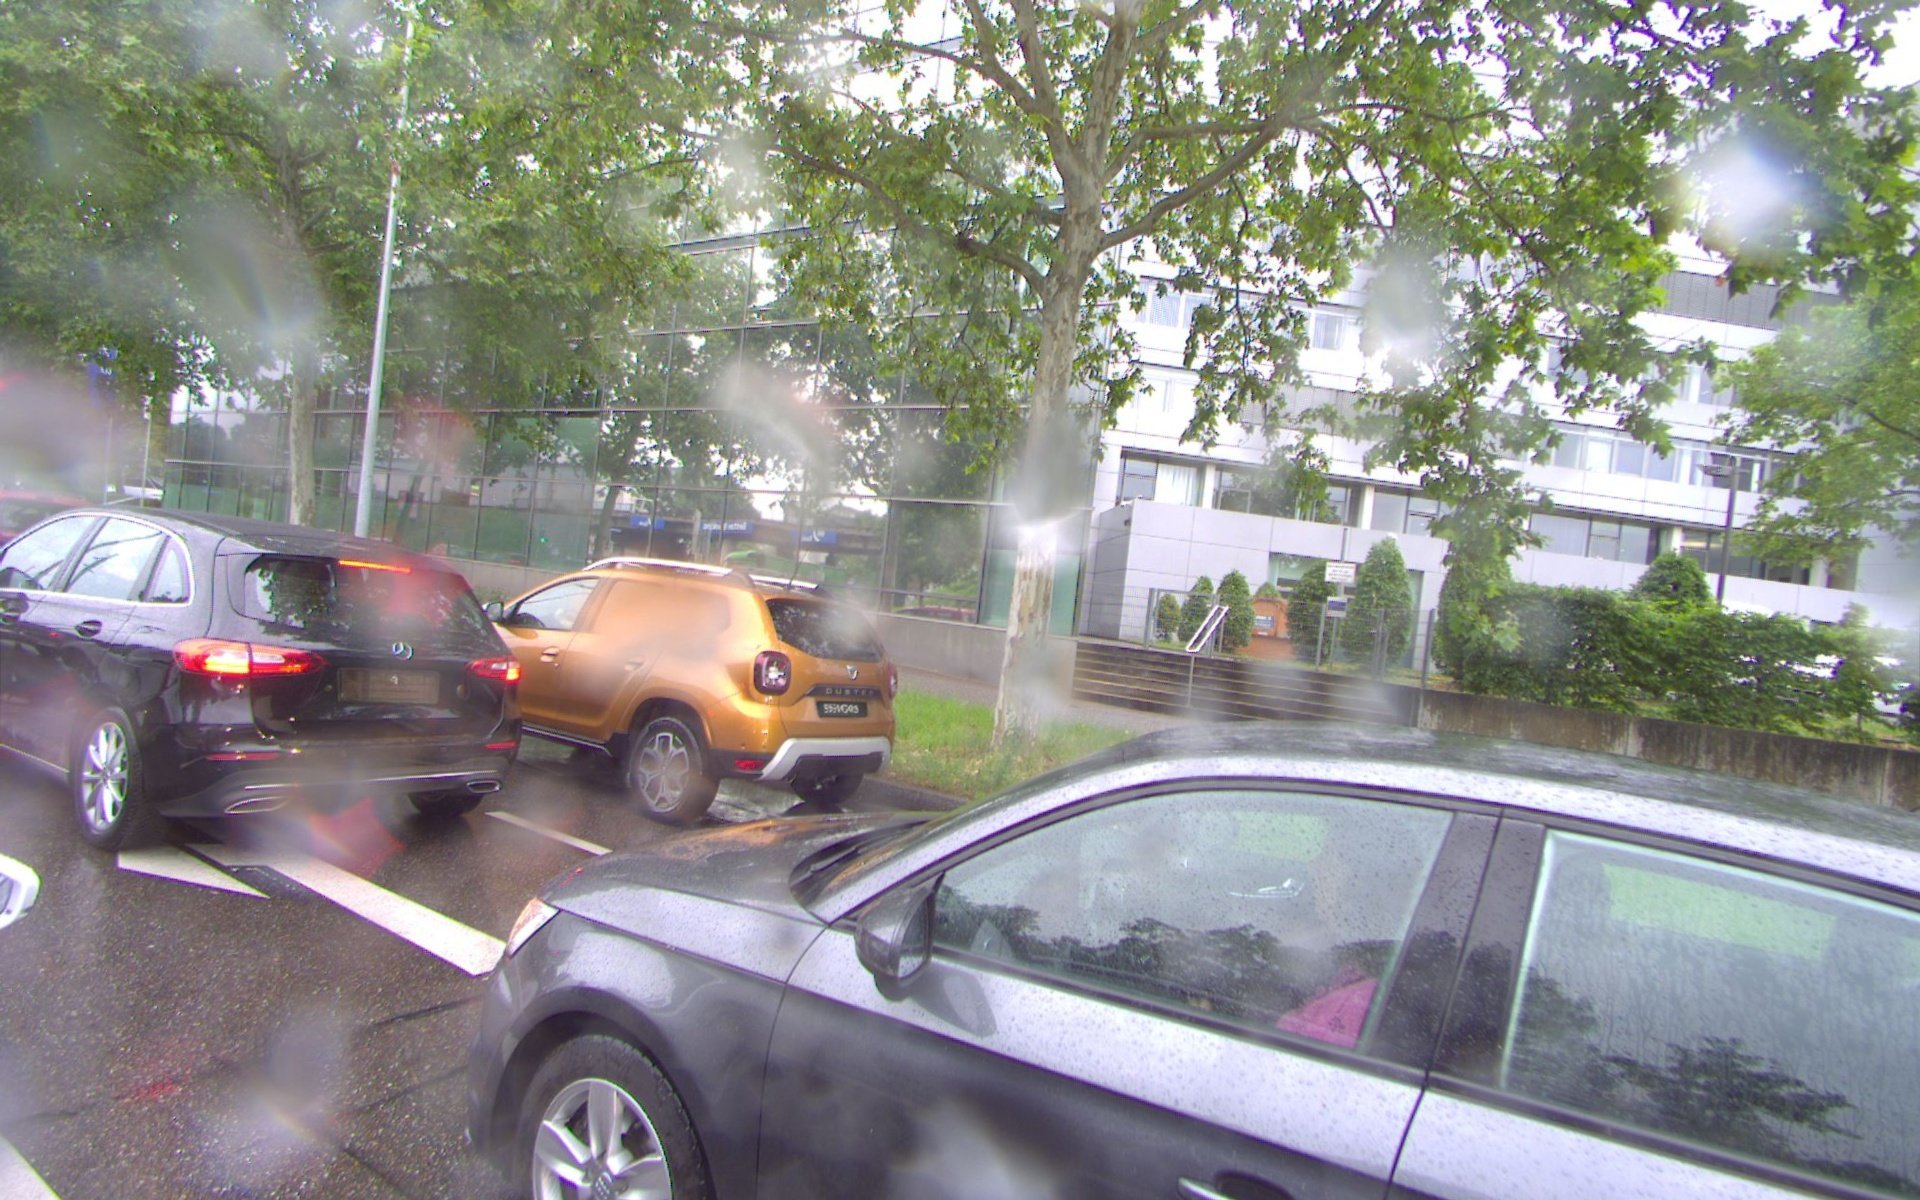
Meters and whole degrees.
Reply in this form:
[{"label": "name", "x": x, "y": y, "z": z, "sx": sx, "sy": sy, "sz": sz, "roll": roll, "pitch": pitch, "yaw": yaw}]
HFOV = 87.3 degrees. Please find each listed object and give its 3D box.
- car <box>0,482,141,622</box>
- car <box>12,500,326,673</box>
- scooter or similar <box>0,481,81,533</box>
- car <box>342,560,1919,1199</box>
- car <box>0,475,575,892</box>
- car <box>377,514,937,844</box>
[{"label": "car", "x": -14.067, "y": -0.806, "z": 14.792, "sx": 4.201, "sy": 1.714, "sz": 1.714, "roll": 6, "pitch": -2, "yaw": 32}, {"label": "car", "x": -8.926, "y": -0.167, "z": 11.316, "sx": 3.332, "sy": 1.480, "sz": 1.572, "roll": 7, "pitch": -1, "yaw": 31}, {"label": "scooter or similar", "x": -54.523, "y": -5.522, "z": 58.140, "sx": 5.228, "sy": 2.476, "sz": 1.893, "roll": 7, "pitch": 0, "yaw": -9}, {"label": "car", "x": 0.611, "y": 0.883, "z": 2.146, "sx": 3.718, "sy": 1.445, "sz": 1.679, "roll": 7, "pitch": -1, "yaw": 31}, {"label": "car", "x": -4.338, "y": 0.246, "z": 5.755, "sx": 4.022, "sy": 1.573, "sz": 1.751, "roll": 7, "pitch": -1, "yaw": 31}, {"label": "car", "x": -2.432, "y": 0.470, "z": 7.755, "sx": 4.079, "sy": 1.704, "sz": 1.679, "roll": 8, "pitch": -2, "yaw": 32}]
